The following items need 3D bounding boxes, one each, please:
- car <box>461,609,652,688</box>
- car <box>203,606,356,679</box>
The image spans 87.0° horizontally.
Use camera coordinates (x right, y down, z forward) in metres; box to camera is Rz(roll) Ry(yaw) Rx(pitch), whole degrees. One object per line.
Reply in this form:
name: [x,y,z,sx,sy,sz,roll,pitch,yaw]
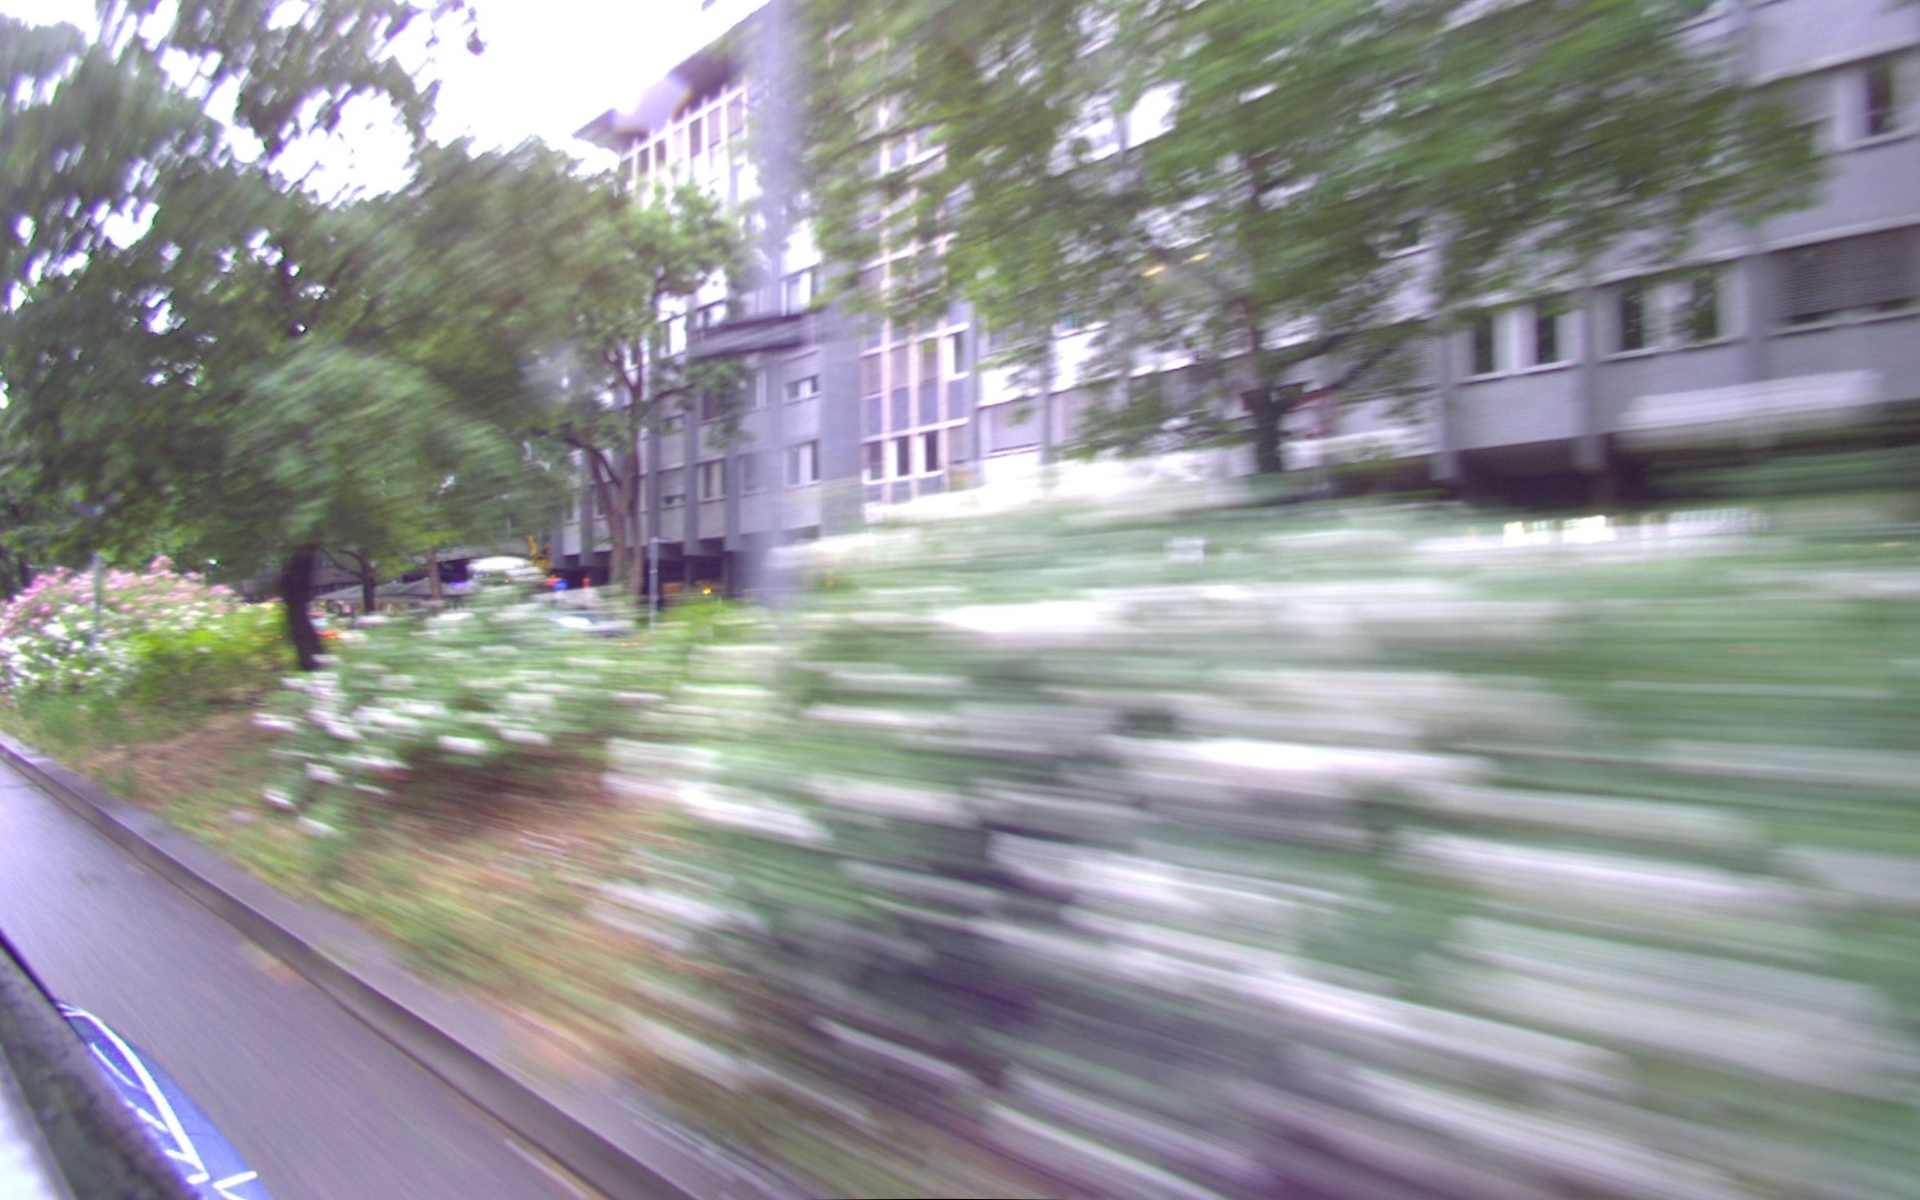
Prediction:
car: [-8.251,0.962,20.493,4.495,1.439,1.709,-1,-4,41]
car: [-14.926,0.927,22.114,4.188,1.439,1.709,-1,-4,41]
